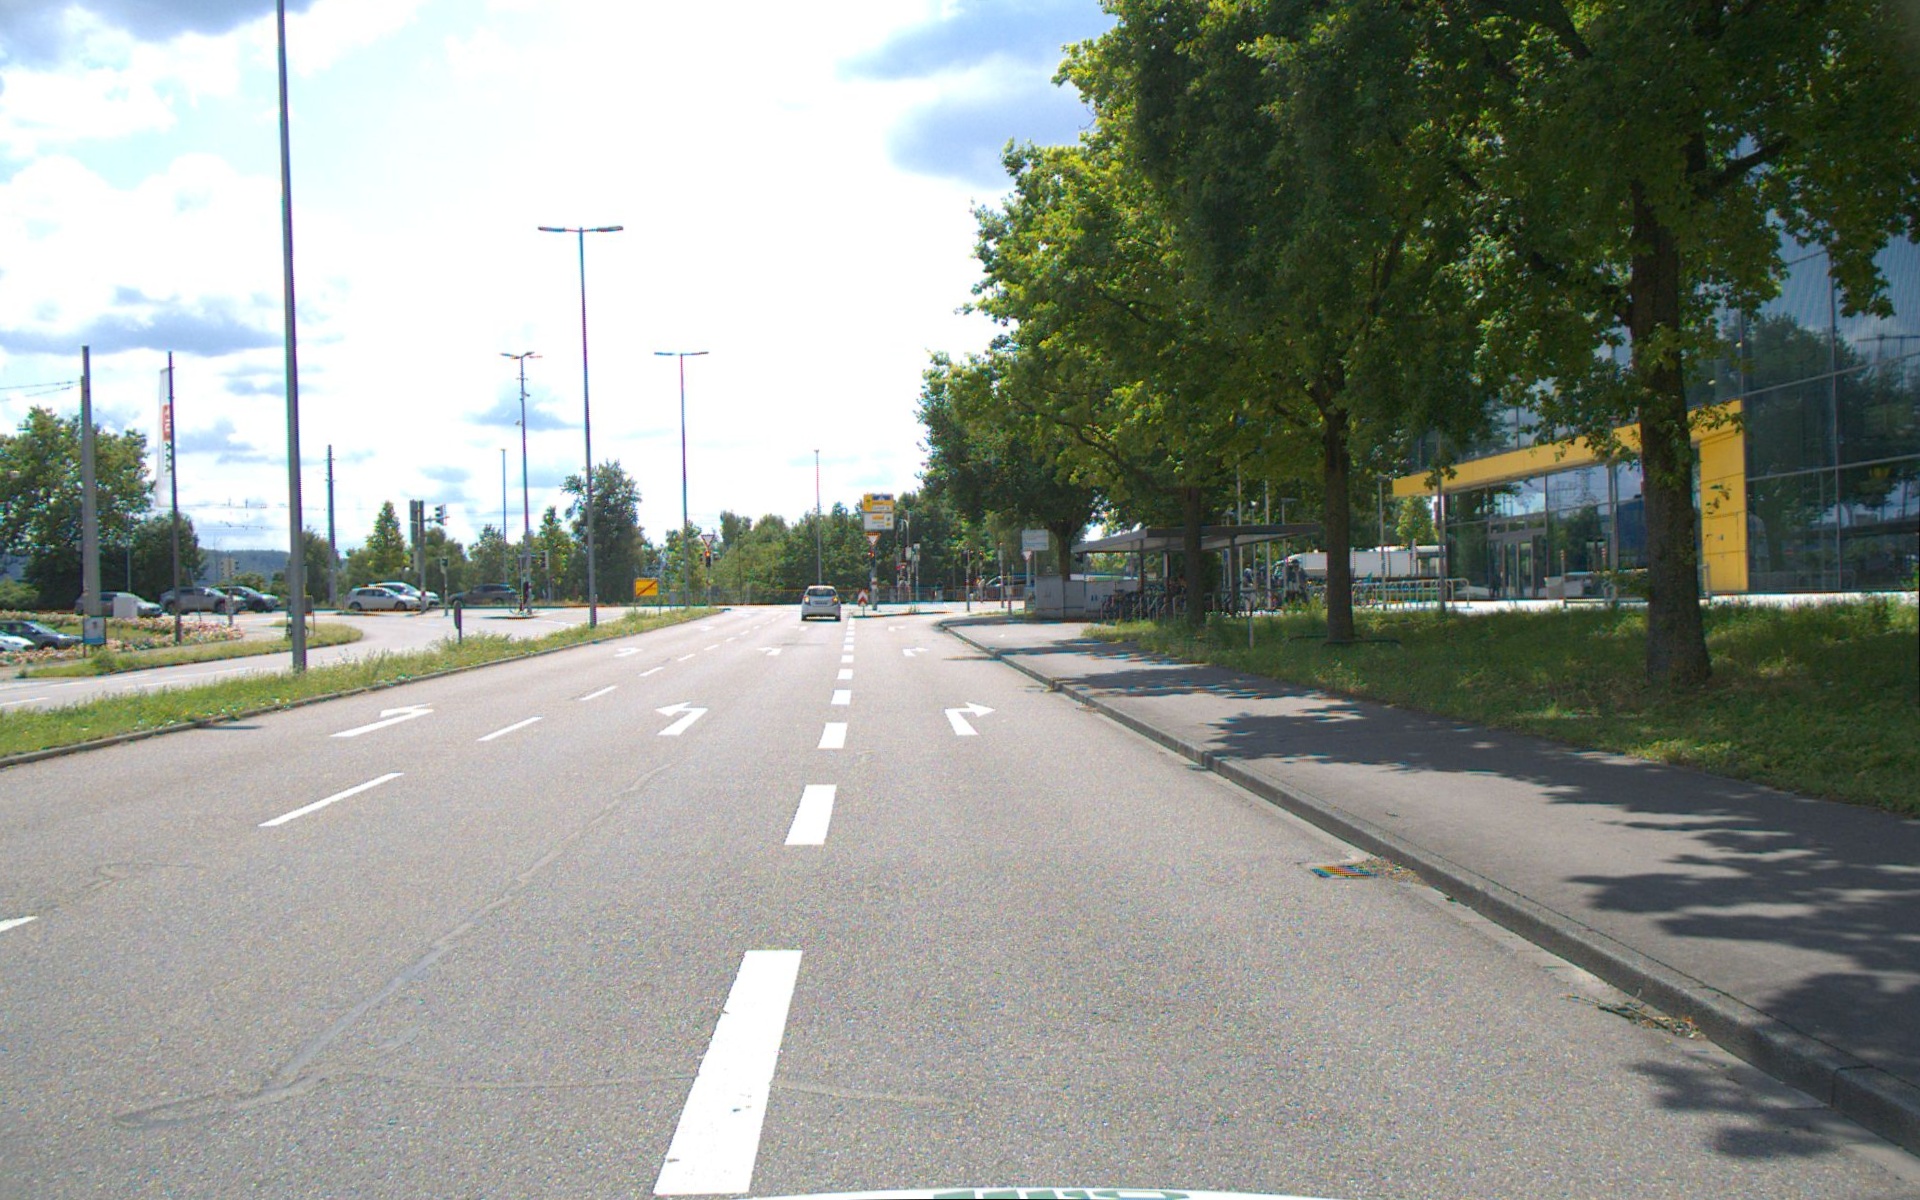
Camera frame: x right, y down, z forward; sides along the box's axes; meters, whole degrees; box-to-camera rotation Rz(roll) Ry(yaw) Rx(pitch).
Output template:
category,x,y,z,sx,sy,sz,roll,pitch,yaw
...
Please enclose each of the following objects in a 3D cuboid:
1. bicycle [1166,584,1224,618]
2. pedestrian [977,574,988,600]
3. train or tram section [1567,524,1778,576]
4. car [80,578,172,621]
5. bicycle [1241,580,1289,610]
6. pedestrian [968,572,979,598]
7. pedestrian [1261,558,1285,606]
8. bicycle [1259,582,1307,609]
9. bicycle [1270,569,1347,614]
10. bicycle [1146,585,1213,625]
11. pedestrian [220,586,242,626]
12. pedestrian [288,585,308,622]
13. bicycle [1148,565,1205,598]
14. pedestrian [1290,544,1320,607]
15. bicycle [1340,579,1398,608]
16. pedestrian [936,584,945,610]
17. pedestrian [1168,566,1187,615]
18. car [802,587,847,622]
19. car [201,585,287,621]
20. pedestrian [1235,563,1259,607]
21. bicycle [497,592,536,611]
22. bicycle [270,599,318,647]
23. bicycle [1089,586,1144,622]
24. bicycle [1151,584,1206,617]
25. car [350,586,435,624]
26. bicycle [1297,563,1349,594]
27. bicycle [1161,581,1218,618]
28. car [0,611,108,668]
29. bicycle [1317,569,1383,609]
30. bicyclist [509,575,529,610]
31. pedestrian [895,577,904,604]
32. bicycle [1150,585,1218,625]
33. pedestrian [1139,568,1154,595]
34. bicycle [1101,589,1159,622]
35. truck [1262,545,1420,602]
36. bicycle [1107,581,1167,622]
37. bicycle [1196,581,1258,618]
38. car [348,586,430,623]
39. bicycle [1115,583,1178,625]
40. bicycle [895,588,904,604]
category,x,y,z,sx,sy,sz,roll,pitch,yaw
bicycle,7.756,0.031,54.597,1.827,1.012,0.423,-2,-1,-9
pedestrian,1.540,-0.874,113.978,0.662,1.778,0.637,-1,2,-1
train or tram section,49.323,-3.461,114.622,13.787,3.242,3.042,-1,0,-7
car,-44.363,-0.033,87.985,3.902,2.048,2.002,-2,1,13
bicycle,12.500,-0.204,67.811,1.893,1.127,0.501,-3,-2,-22
pedestrian,0.931,-1.041,114.811,0.691,1.751,0.601,-2,0,-1
pedestrian,14.065,-0.816,74.387,0.986,2.108,0.975,-2,-1,11
bicycle,13.011,-0.197,66.633,1.824,1.012,0.424,-2,1,-2
bicycle,9.757,-0.237,46.342,1.973,1.127,0.575,-3,0,35
bicycle,6.314,0.138,47.544,1.827,1.012,0.423,-4,1,-9
pedestrian,-34.768,0.298,78.884,0.856,1.870,0.789,1,-1,-32
pedestrian,-34.179,0.169,85.370,0.788,1.870,0.858,1,-1,-32
bicycle,7.324,-0.627,55.877,1.827,1.012,0.423,-3,0,-9
pedestrian,9.810,-0.707,47.022,0.621,1.751,0.523,-3,-1,32
bicycle,13.831,-0.232,55.985,1.825,0.897,0.470,-3,1,-4
pedestrian,-1.315,-0.205,111.258,0.512,1.751,0.730,-2,0,0
pedestrian,7.622,-0.338,57.907,0.534,1.691,0.478,-2,1,-5
car,-5.912,0.187,72.691,1.856,1.495,3.831,0,0,-3
car,-43.050,0.170,99.552,4.263,2.024,1.998,-2,0,-5
pedestrian,12.857,-0.661,73.999,0.986,1.935,0.975,-2,-1,10
bicycle,-24.674,0.085,92.114,1.977,1.016,0.621,2,0,-4
bicycle,-25.083,0.840,62.295,0.997,1.704,2.047,-2,1,-3
bicycle,5.507,0.139,58.105,1.827,1.208,0.423,-2,1,-9
bicycle,7.545,0.015,57.150,1.824,1.052,0.423,-2,1,-2
car,-33.321,0.278,97.163,4.263,2.024,1.998,-2,0,-5
bicycle,13.620,-0.808,62.090,1.827,1.012,0.423,-3,-1,-9
bicycle,7.661,-0.025,55.241,1.827,1.135,0.423,-3,0,-9
car,-35.867,1.547,64.889,3.920,2.049,1.993,-2,0,-14
bicycle,13.467,-0.386,57.126,2.095,1.251,0.721,-3,0,6
bicyclist,-24.562,-0.419,92.127,0.903,1.878,0.611,-1,1,-4
pedestrian,-4.226,-0.662,114.950,0.599,1.799,0.672,-1,0,-2
bicycle,6.376,0.136,47.058,1.827,1.012,0.423,-4,1,-9
pedestrian,13.016,-1.300,115.576,0.908,1.839,0.735,-1,0,-5
bicycle,5.606,0.182,54.609,1.827,1.012,0.423,-3,0,-9
truck,30.083,-2.083,130.828,11.720,4.176,2.950,-1,0,-4
bicycle,5.678,0.045,53.175,1.827,1.208,0.423,-3,0,-9
bicycle,8.277,-0.009,51.299,1.827,1.012,0.423,-4,-1,-9
car,-34.396,0.273,99.704,4.263,2.024,1.998,-2,0,-5
bicycle,5.745,0.115,50.949,1.858,1.190,0.423,-3,0,-3
bicycle,-4.221,-0.296,114.987,0.606,1.106,1.722,-1,1,-2
